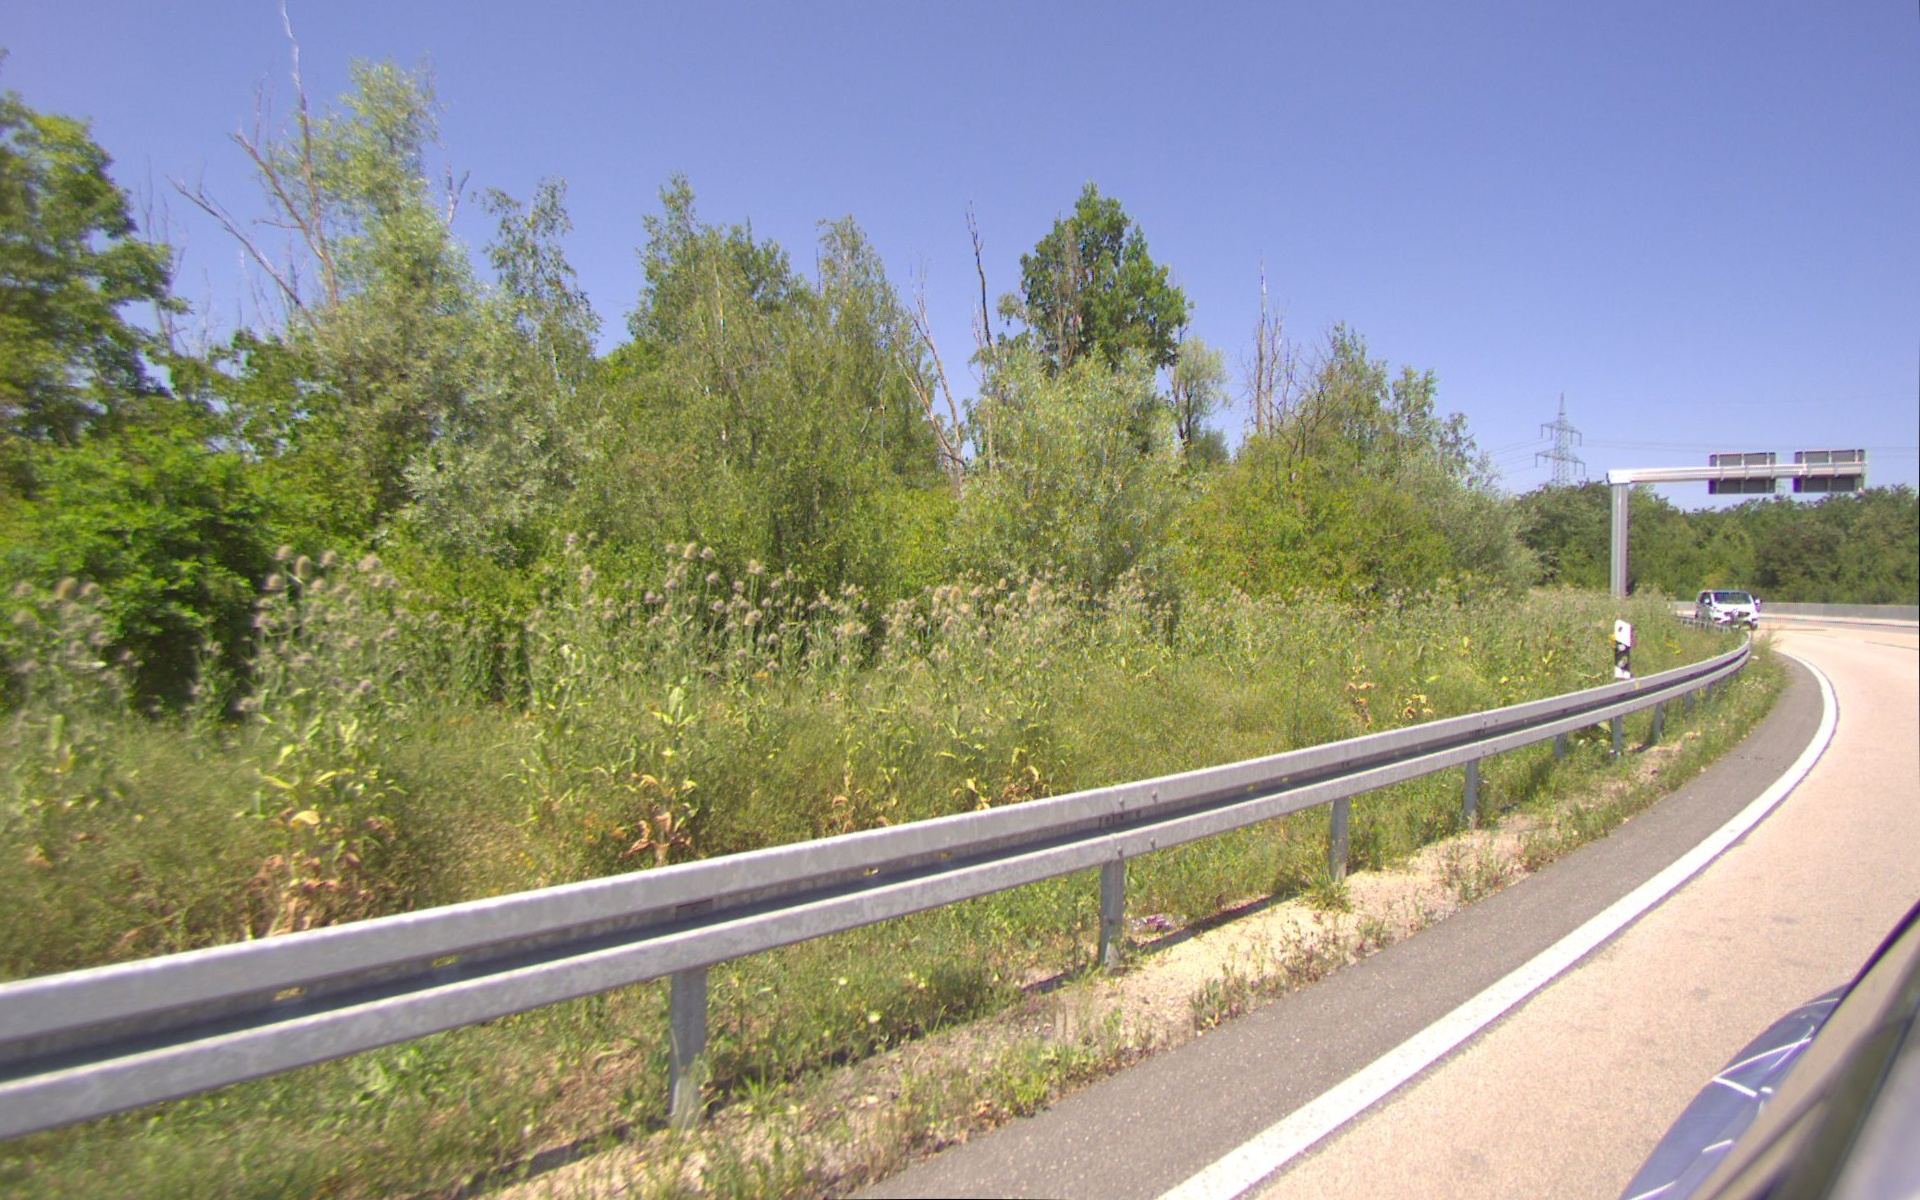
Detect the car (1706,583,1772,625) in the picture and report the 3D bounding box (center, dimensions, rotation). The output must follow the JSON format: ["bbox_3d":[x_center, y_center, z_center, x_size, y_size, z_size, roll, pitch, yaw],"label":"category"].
[{"bbox_3d":[39.999,0.173,52.056,2.046,2.039,4.988,0,1,30],"label":"car"}]
